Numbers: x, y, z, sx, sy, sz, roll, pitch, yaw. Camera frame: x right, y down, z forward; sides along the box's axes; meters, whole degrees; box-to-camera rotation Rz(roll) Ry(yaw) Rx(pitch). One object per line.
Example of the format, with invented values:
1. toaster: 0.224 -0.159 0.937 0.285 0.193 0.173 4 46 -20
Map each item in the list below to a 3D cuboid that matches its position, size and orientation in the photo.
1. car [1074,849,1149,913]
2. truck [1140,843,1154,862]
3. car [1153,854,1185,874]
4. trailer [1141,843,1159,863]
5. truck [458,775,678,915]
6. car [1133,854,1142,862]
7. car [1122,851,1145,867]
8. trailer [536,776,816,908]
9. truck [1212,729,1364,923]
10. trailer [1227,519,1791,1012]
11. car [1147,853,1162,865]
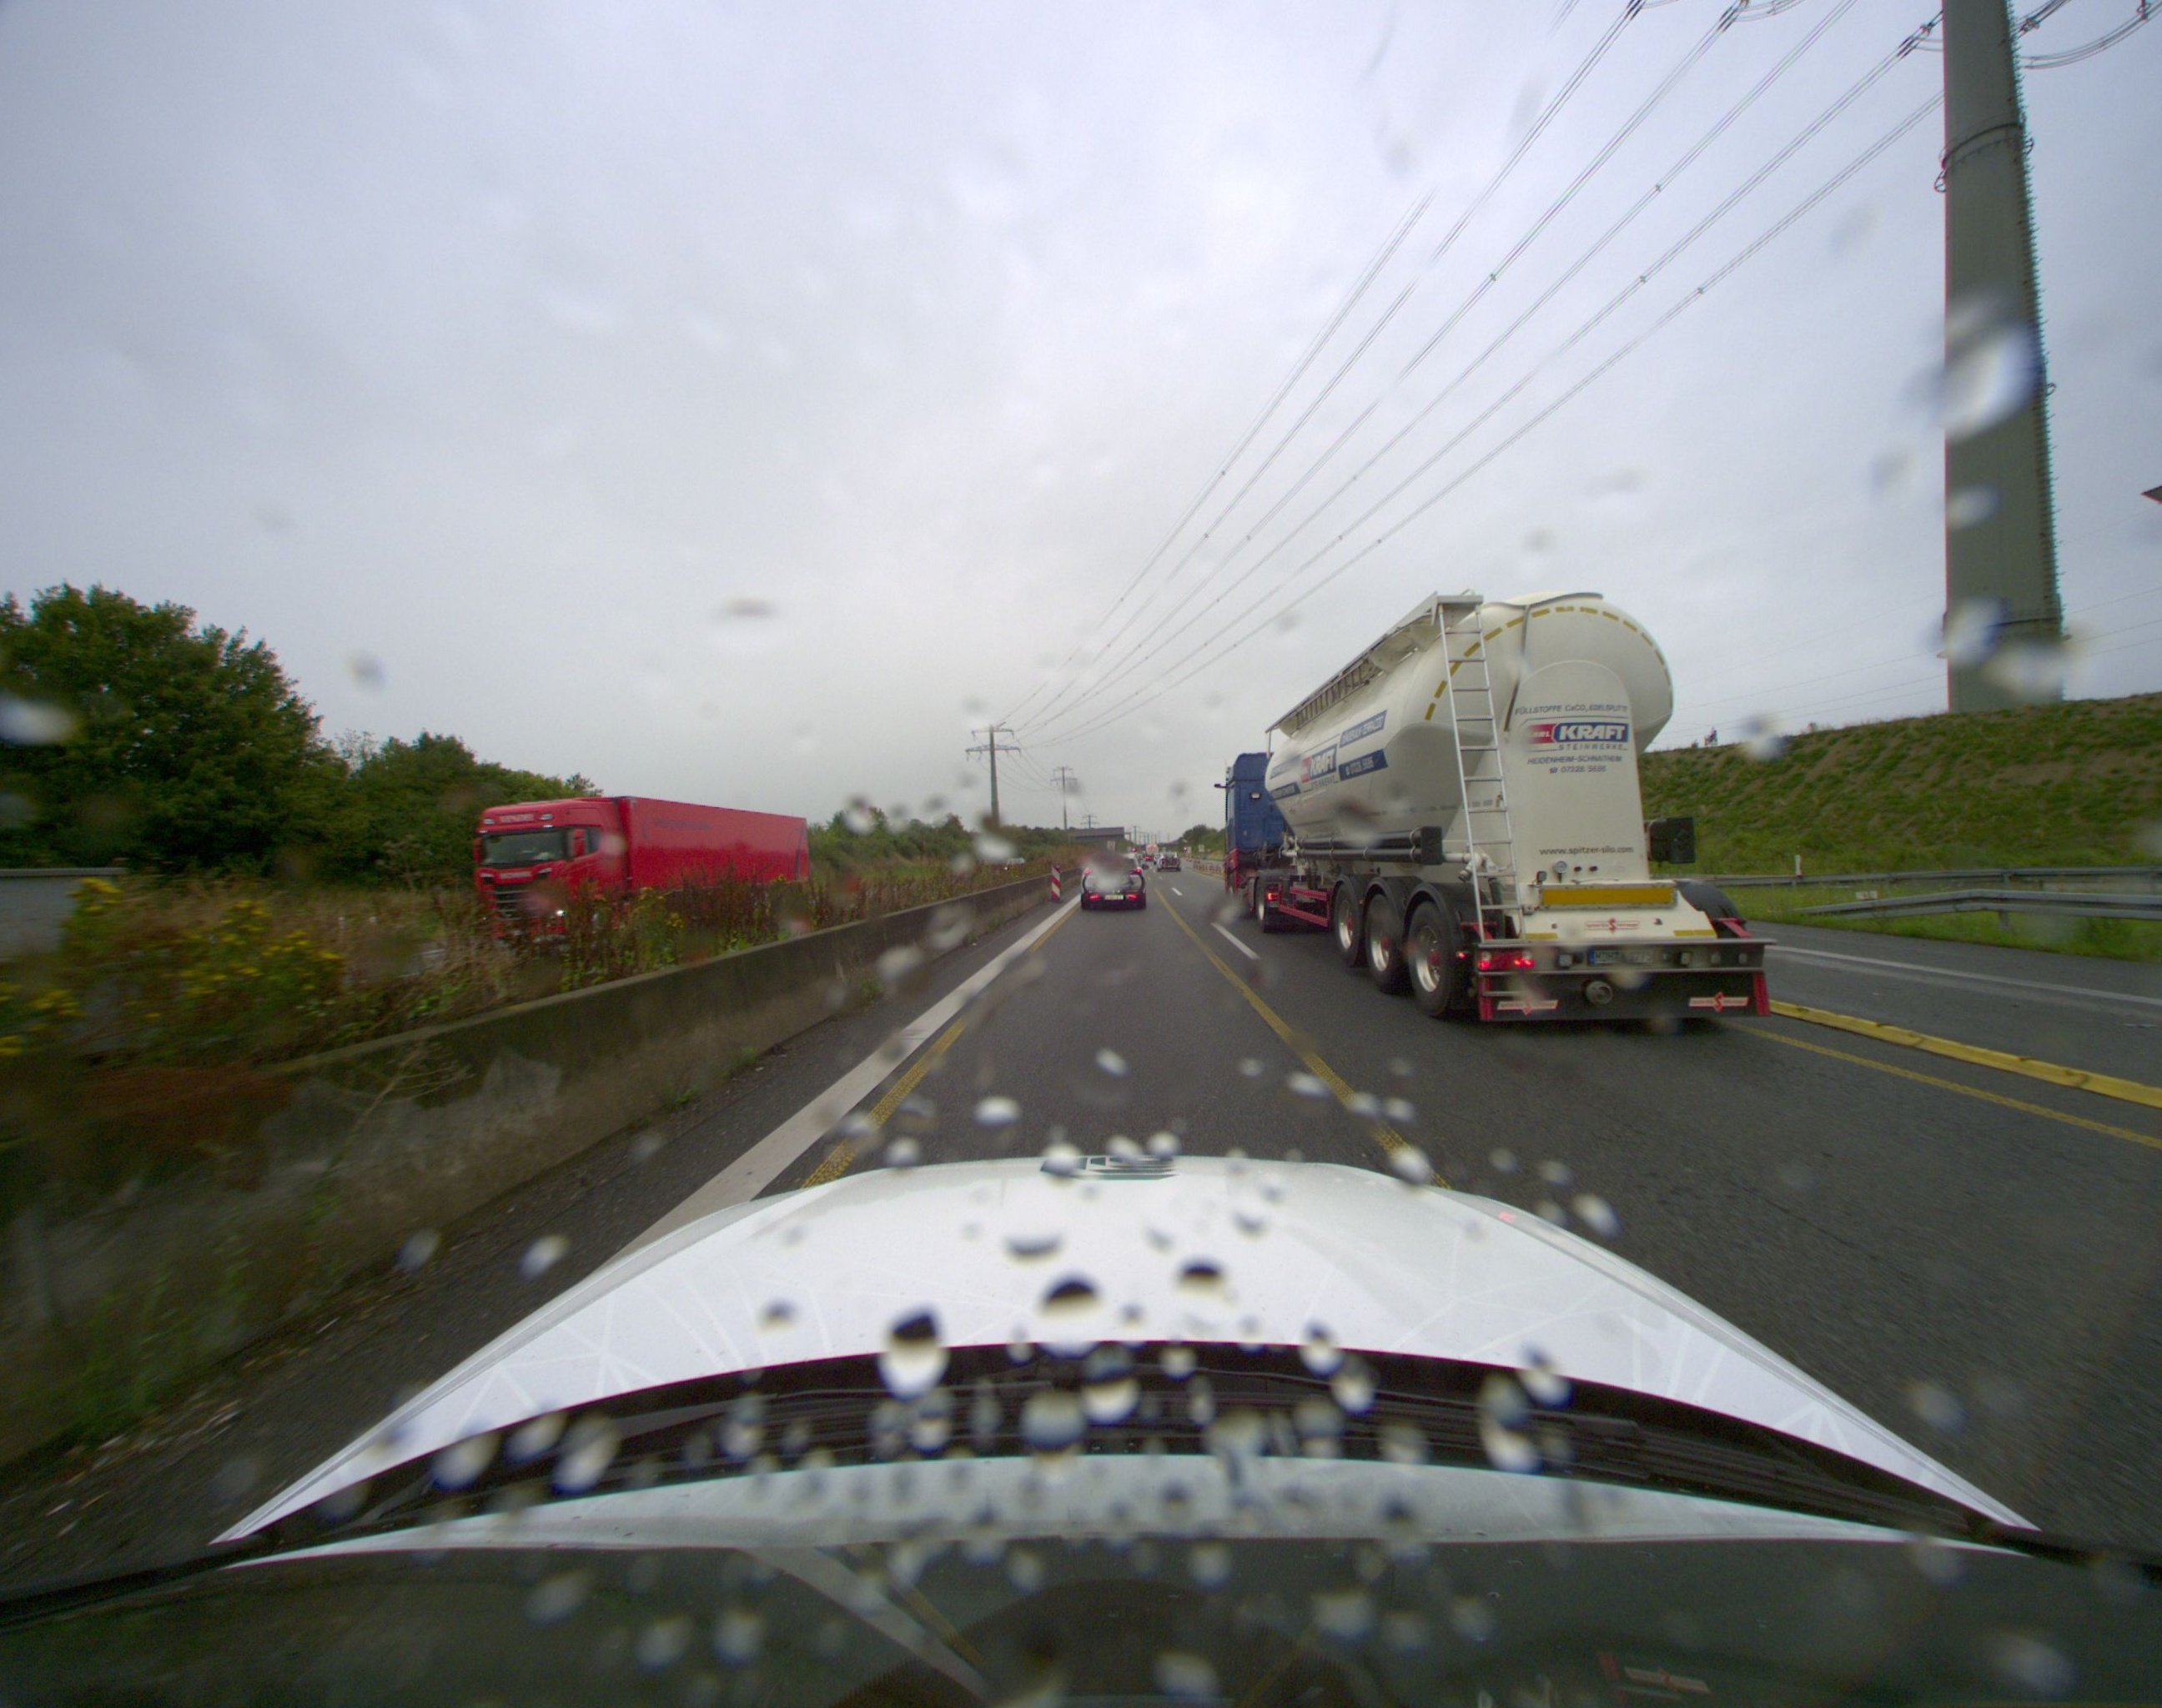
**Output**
1. car: 0.899 0.699 23.434 1.920 1.611 4.598 -1 0 3
2. truck: 13.774 -0.297 169.392 2.636 3.891 4.029 -1 -1 0
3. car: 7.305 0.801 68.239 2.039 1.596 5.801 -1 0 0
4. trailer: 13.739 -0.134 162.968 2.629 3.893 10.542 -1 -1 0
5. truck: -14.357 -0.198 23.294 3.012 3.531 4.929 -1 -1 2
6. car: 13.304 0.955 191.389 1.987 2.014 4.000 -1 -1 0
7. car: 5.251 0.486 81.984 1.987 1.584 4.000 -1 0 0
8. trailer: -14.035 -0.271 30.633 3.025 3.814 13.985 -1 -1 2
9. truck: 4.542 -0.556 18.636 2.538 3.947 4.002 -1 -1 2
10. trailer: 4.438 -0.625 12.539 2.510 3.834 12.355 -1 -1 2
11. car: 9.890 0.692 109.856 1.862 1.535 4.201 -2 0 4
